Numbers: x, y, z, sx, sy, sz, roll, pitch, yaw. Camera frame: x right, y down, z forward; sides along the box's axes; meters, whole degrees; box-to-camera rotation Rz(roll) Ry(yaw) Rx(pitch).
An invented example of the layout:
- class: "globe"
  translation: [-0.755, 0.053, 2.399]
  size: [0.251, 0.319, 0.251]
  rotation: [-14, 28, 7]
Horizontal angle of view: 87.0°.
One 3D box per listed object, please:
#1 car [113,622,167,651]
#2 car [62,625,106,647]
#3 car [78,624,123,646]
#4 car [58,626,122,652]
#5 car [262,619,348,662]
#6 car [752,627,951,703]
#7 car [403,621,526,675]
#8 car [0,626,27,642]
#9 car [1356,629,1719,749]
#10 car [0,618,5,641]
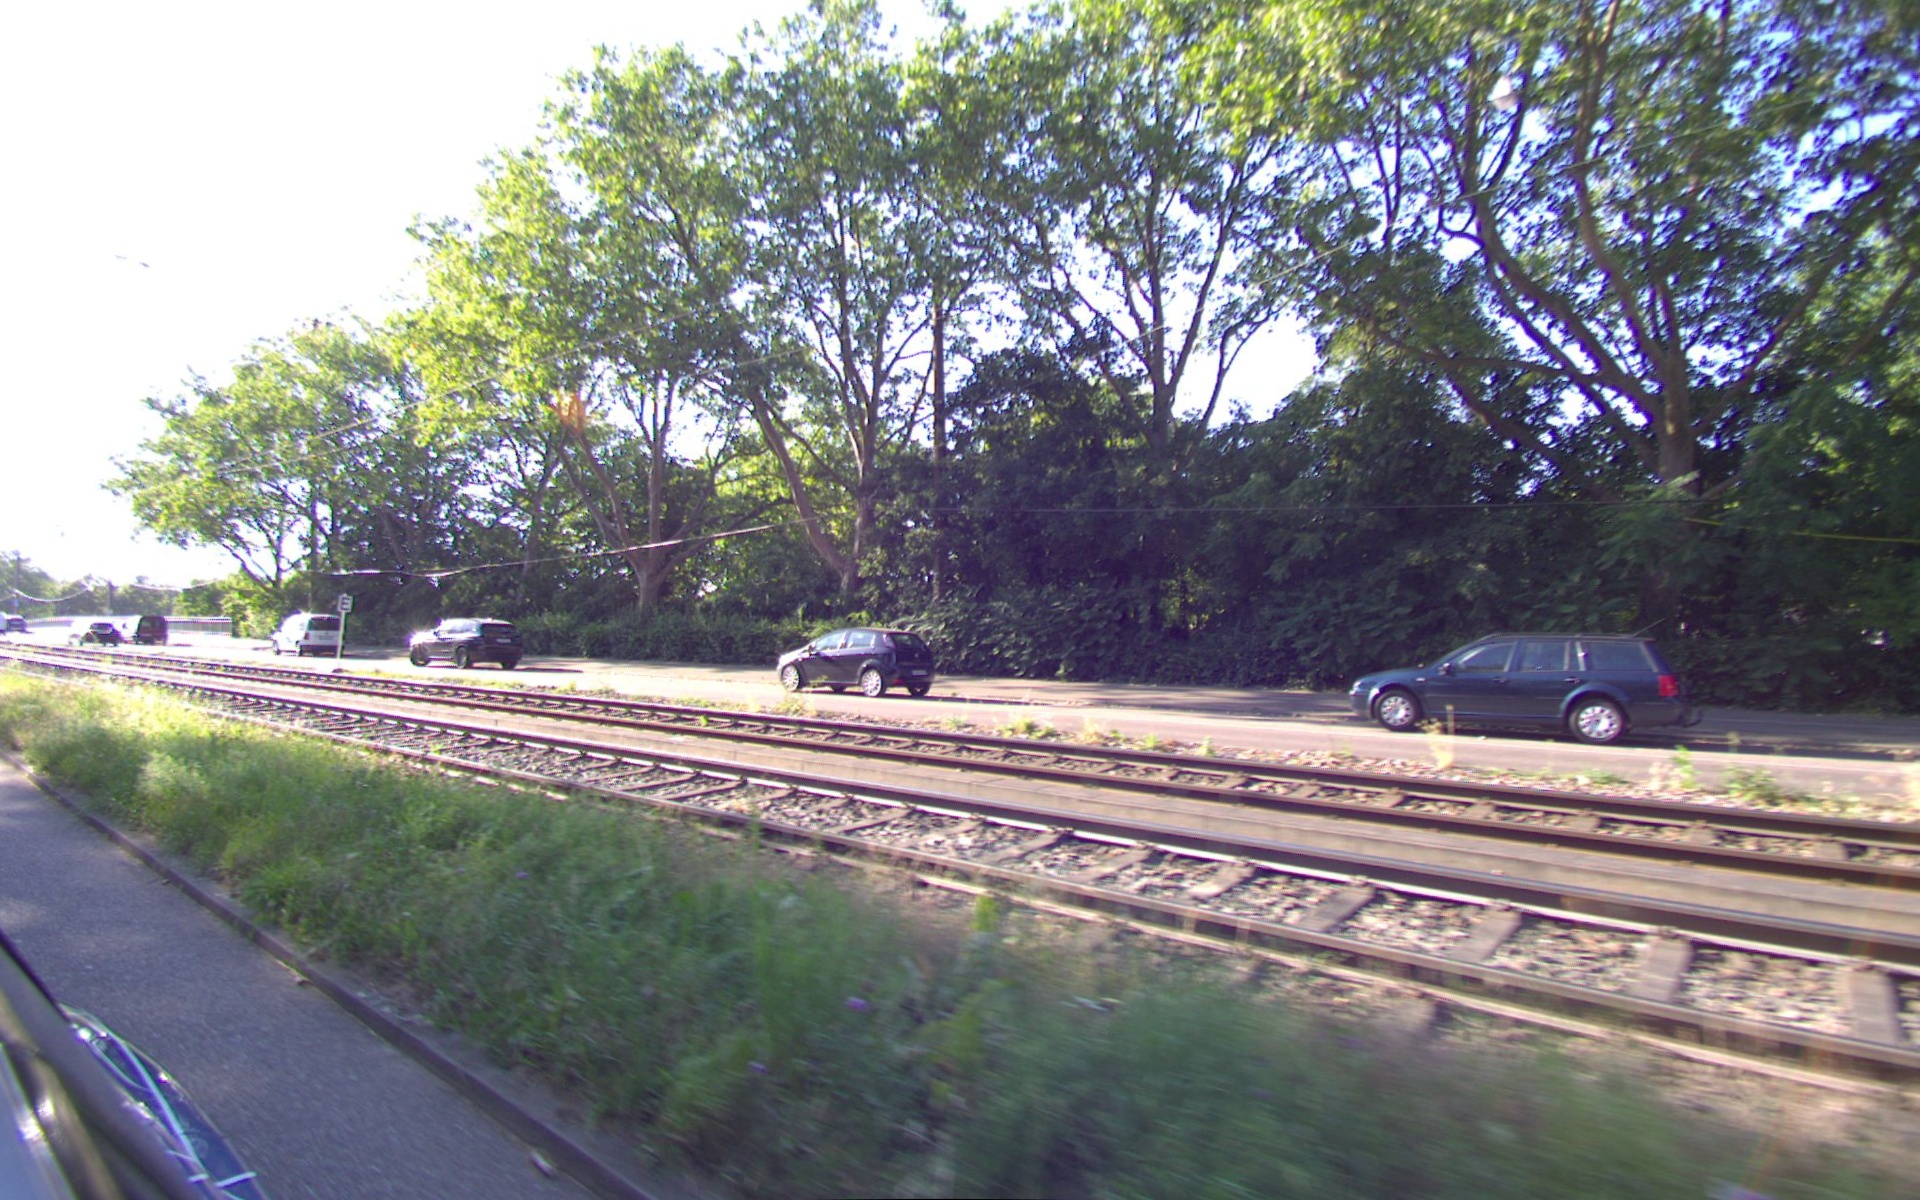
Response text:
- class: "car"
  translation: [-50.818, 2.238, 62.699]
  size: [3.894, 1.753, 1.713]
  rotation: [-1, -3, 38]
- class: "car"
  translation: [-63.346, 2.588, 73.190]
  size: [3.919, 1.511, 1.638]
  rotation: [-1, -3, 38]
- class: "car"
  translation: [-59.154, 2.411, 69.649]
  size: [3.781, 1.453, 1.638]
  rotation: [-1, -3, 39]
- class: "car"
  translation: [-49.612, 2.207, 57.686]
  size: [4.744, 1.426, 1.901]
  rotation: [-1, -3, 39]
- class: "car"
  translation: [-29.079, 1.776, 44.888]
  size: [4.388, 1.854, 1.809]
  rotation: [-1, -3, 38]
- class: "car"
  translation: [-2.484, 1.387, 22.610]
  size: [4.388, 1.517, 1.809]
  rotation: [-1, -3, 38]
- class: "car"
  translation: [-16.944, 1.605, 34.569]
  size: [4.383, 1.732, 1.812]
  rotation: [-1, -3, 34]
- class: "car"
  translation: [-90.870, 3.218, 96.942]
  size: [3.922, 1.511, 1.637]
  rotation: [-1, -3, 40]
- class: "car"
  translation: [8.159, 1.172, 14.500]
  size: [4.318, 1.448, 1.809]
  rotation: [-1, -3, 38]
- class: "car"
  translation: [-80.432, 2.410, 83.456]
  size: [5.031, 1.866, 1.808]
  rotation: [-1, -3, 40]
